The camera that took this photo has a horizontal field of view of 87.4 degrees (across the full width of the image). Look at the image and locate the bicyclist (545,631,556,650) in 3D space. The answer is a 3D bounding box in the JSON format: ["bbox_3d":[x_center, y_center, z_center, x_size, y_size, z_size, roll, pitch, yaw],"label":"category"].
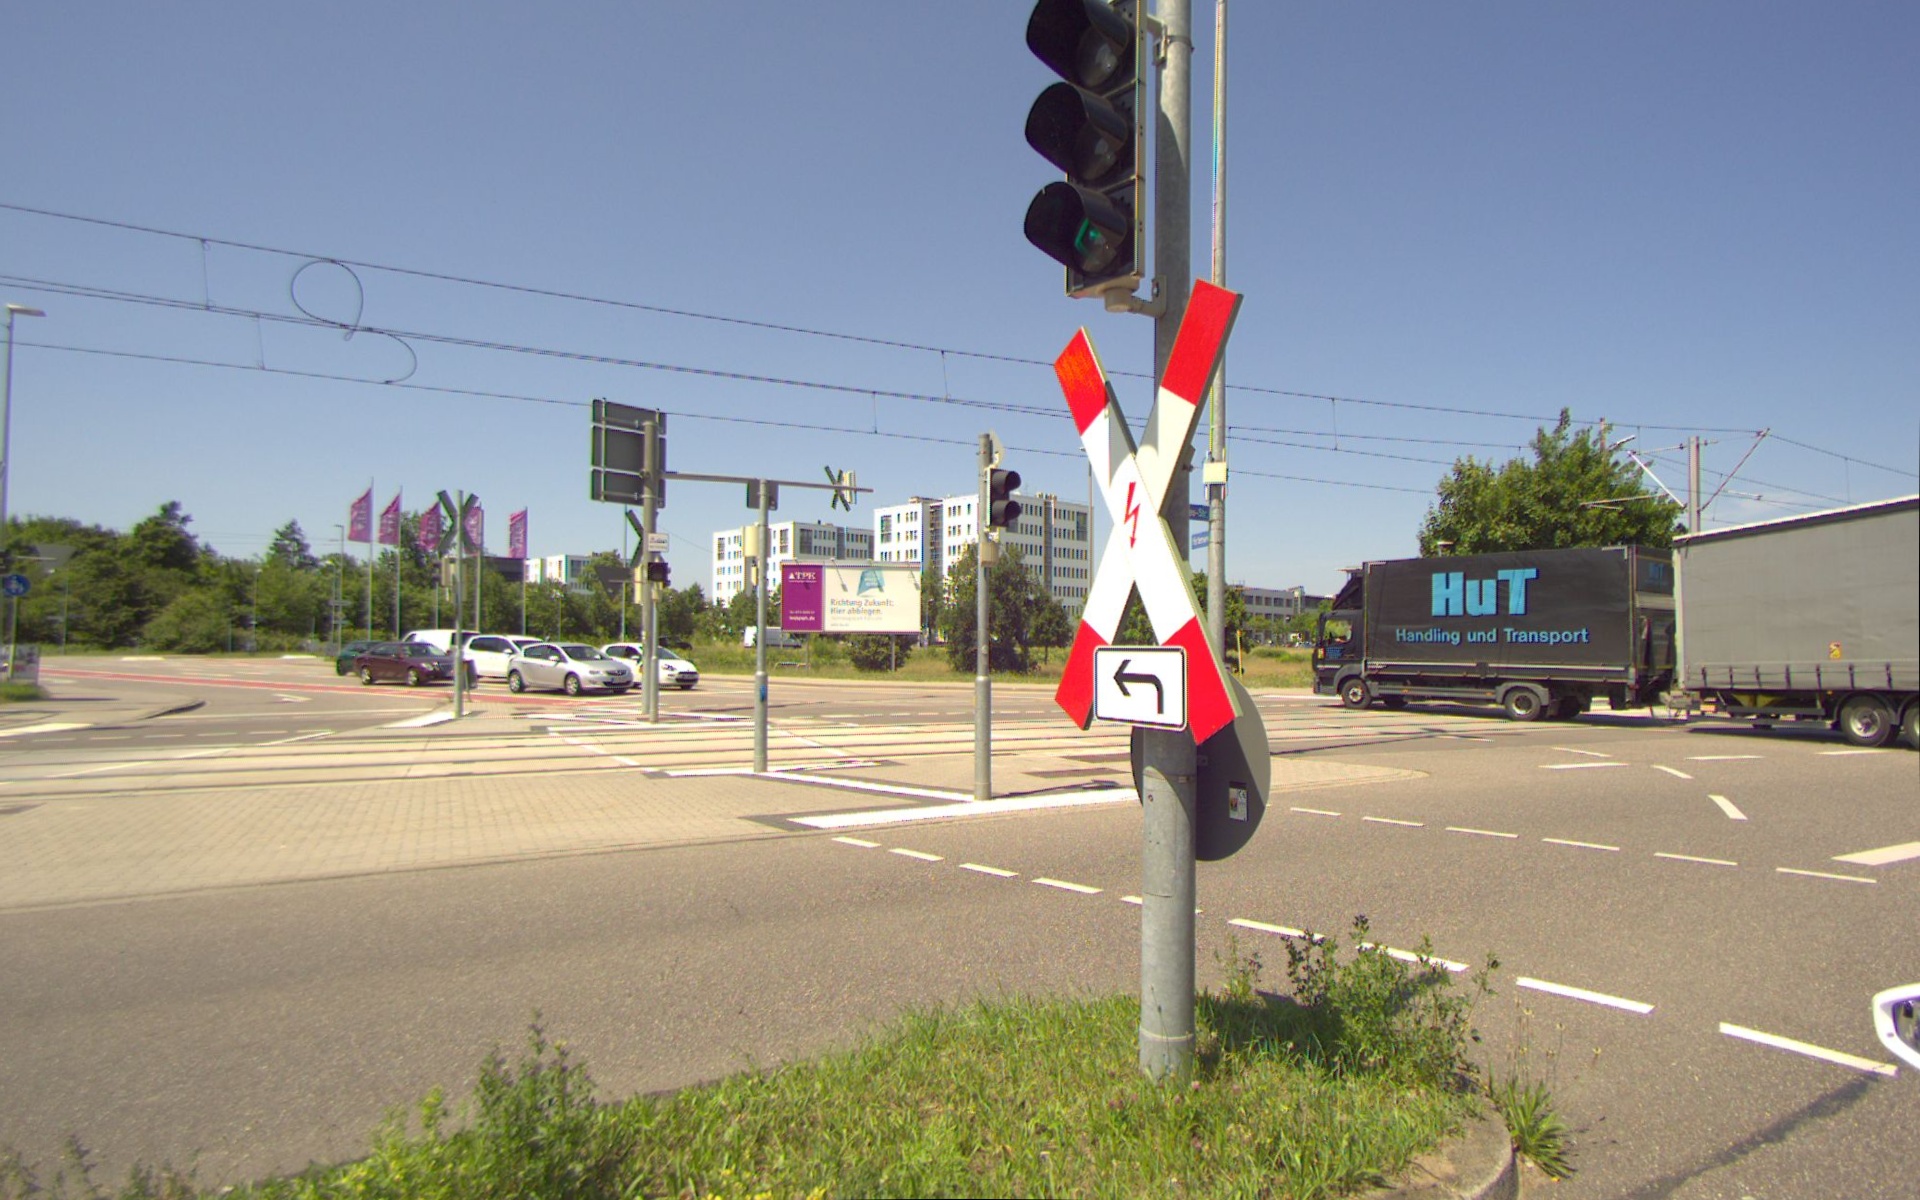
[{"bbox_3d":[-36.888,3.640,90.566,0.599,1.645,0.690,2,0,35],"label":"bicyclist"}]

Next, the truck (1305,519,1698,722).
[{"bbox_3d":[12.717,0.653,24.478,3.057,4.122,7.883,3,-4,-35],"label":"truck"}]

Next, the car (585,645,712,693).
[{"bbox_3d":[-10.213,2.229,32.872,3.891,1.456,1.771,-1,-4,30],"label":"car"}]

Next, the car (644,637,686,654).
[{"bbox_3d":[-28.882,4.436,98.404,1.679,1.552,3.615,-1,-4,37],"label":"car"}]

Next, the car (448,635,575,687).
[{"bbox_3d":[-16.309,2.173,36.454,4.746,1.745,1.814,-1,-3,31],"label":"car"}]

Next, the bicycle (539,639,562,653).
[{"bbox_3d":[-36.913,4.165,90.548,0.603,1.196,1.959,2,0,35],"label":"bicycle"}]

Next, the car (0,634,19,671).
[{"bbox_3d":[-43.508,2.306,44.395,4.183,1.566,1.743,-1,-2,31],"label":"car"}]

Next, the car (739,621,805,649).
[{"bbox_3d":[-20.282,3.821,108.578,2.629,2.838,6.820,-3,-4,41],"label":"car"}]

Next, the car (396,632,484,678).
[{"bbox_3d":[-22.749,2.383,43.925,3.932,1.932,1.657,-1,-3,33],"label":"car"}]

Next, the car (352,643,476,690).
[{"bbox_3d":[-18.434,2.199,33.888,4.210,1.476,1.762,-1,-2,31],"label":"car"}]

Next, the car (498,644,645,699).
[{"bbox_3d":[-11.422,2.045,29.475,4.336,1.475,1.793,-1,-2,32],"label":"car"}]

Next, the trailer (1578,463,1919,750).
[{"bbox_3d":[15.144,0.247,16.781,3.028,4.122,9.806,1,-3,-4],"label":"trailer"}]
